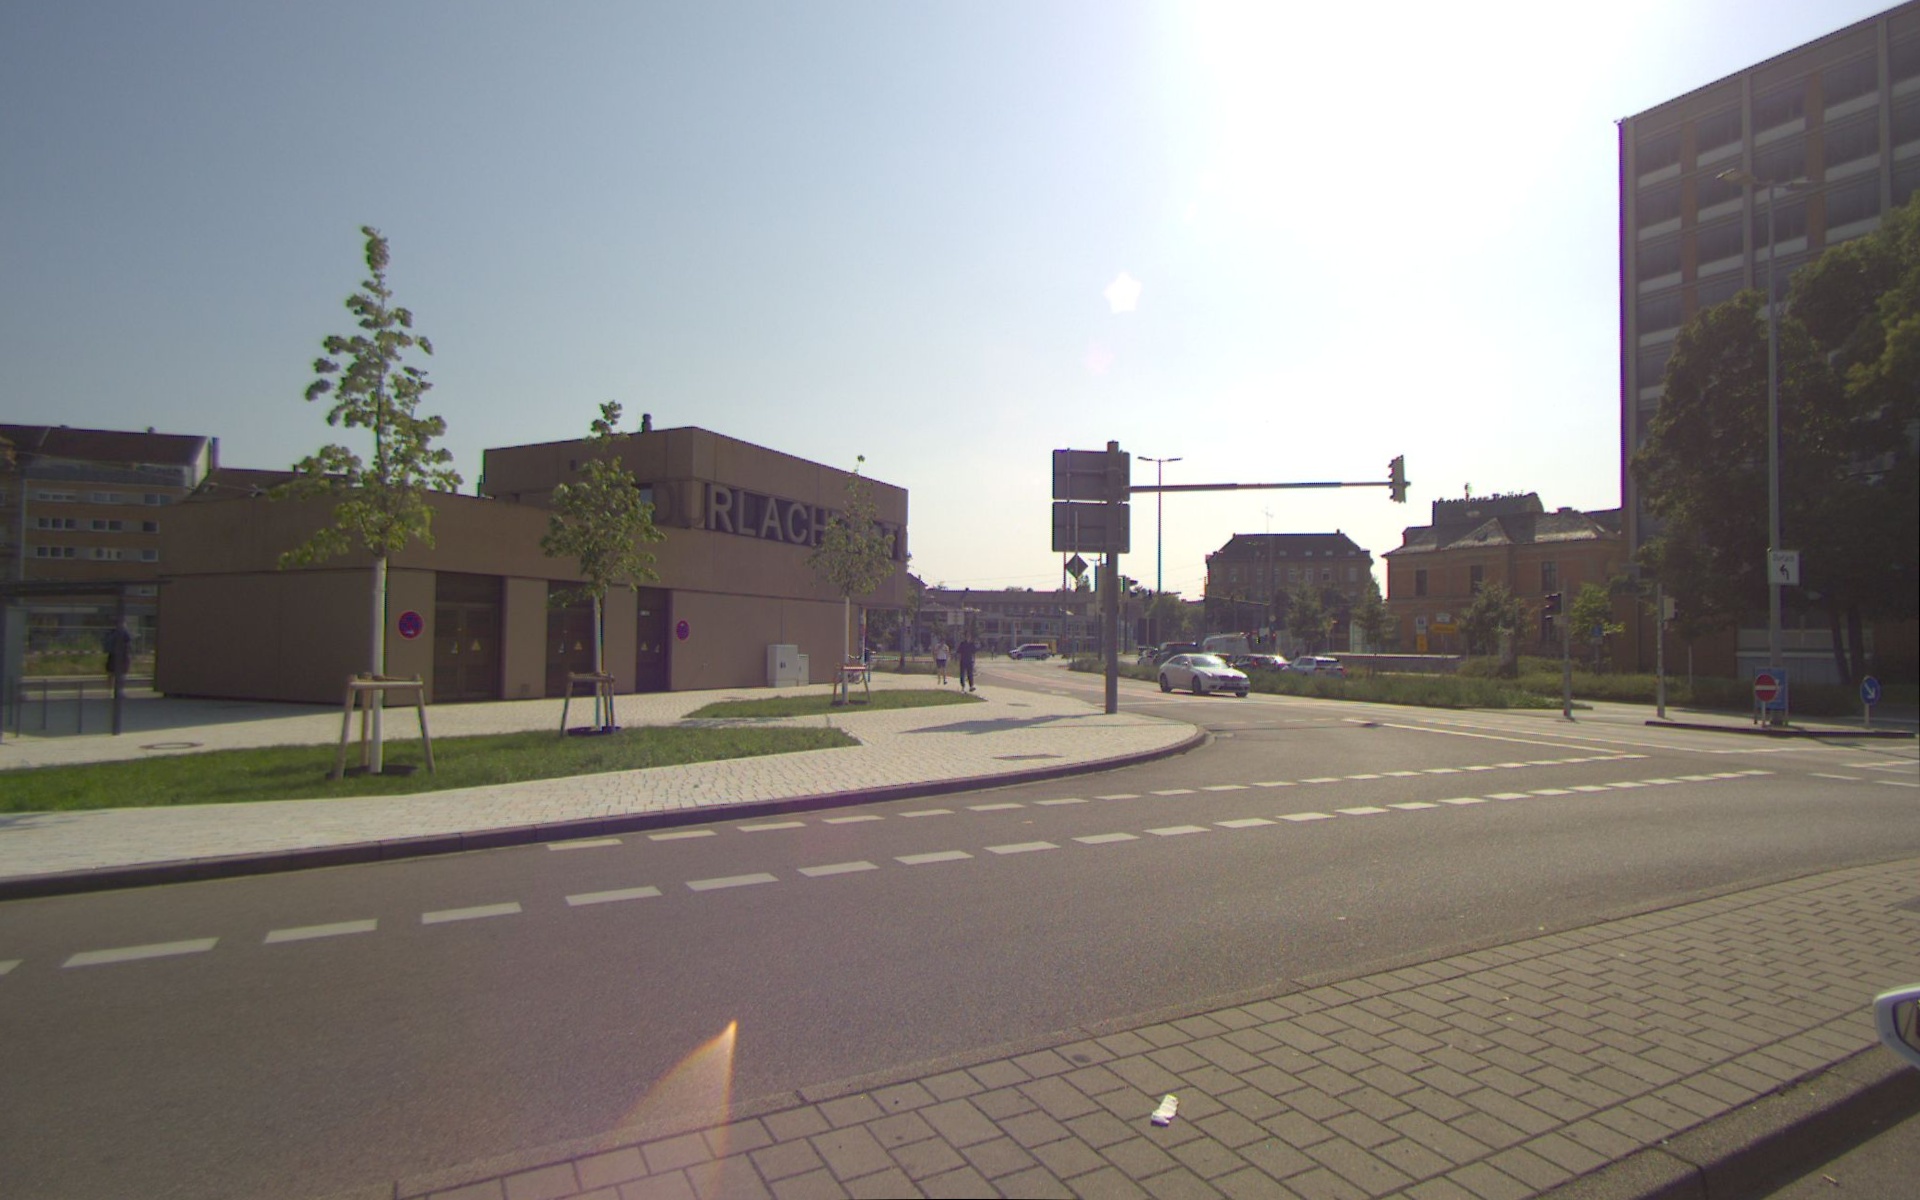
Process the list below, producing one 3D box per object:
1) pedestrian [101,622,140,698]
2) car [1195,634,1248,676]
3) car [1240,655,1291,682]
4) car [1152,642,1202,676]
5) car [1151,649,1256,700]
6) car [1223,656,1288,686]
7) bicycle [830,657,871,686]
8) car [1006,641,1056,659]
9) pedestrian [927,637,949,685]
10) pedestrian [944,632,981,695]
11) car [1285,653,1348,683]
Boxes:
[{"bbox_3d":[-20.140,1.437,24.117,0.646,1.792,0.473,2,-3,-38],"label":"pedestrian"},{"bbox_3d":[16.887,3.587,65.093,2.153,2.582,4.685,1,-3,-1],"label":"car"},{"bbox_3d":[17.097,3.804,56.310,1.465,1.421,3.942,1,-3,-3],"label":"car"},{"bbox_3d":[13.655,3.751,63.481,1.990,2.034,4.685,1,-3,-1],"label":"car"},{"bbox_3d":[8.519,2.593,35.640,1.815,1.379,4.810,2,0,-10],"label":"car"},{"bbox_3d":[14.641,3.488,49.959,1.675,1.385,3.960,2,-3,-7],"label":"car"},{"bbox_3d":[-3.834,2.495,35.309,0.649,0.968,1.611,2,-2,26],"label":"bicycle"},{"bbox_3d":[8.188,5.824,116.564,5.473,2.040,1.993,1,-2,-18],"label":"car"},{"bbox_3d":[-0.866,2.409,39.601,0.683,1.857,0.569,2,-3,-14],"label":"pedestrian"},{"bbox_3d":[0.062,1.956,31.238,0.720,1.864,1.075,1,1,-26],"label":"pedestrian"},{"bbox_3d":[17.543,3.346,49.564,1.658,1.405,3.634,2,-3,-3],"label":"car"}]
